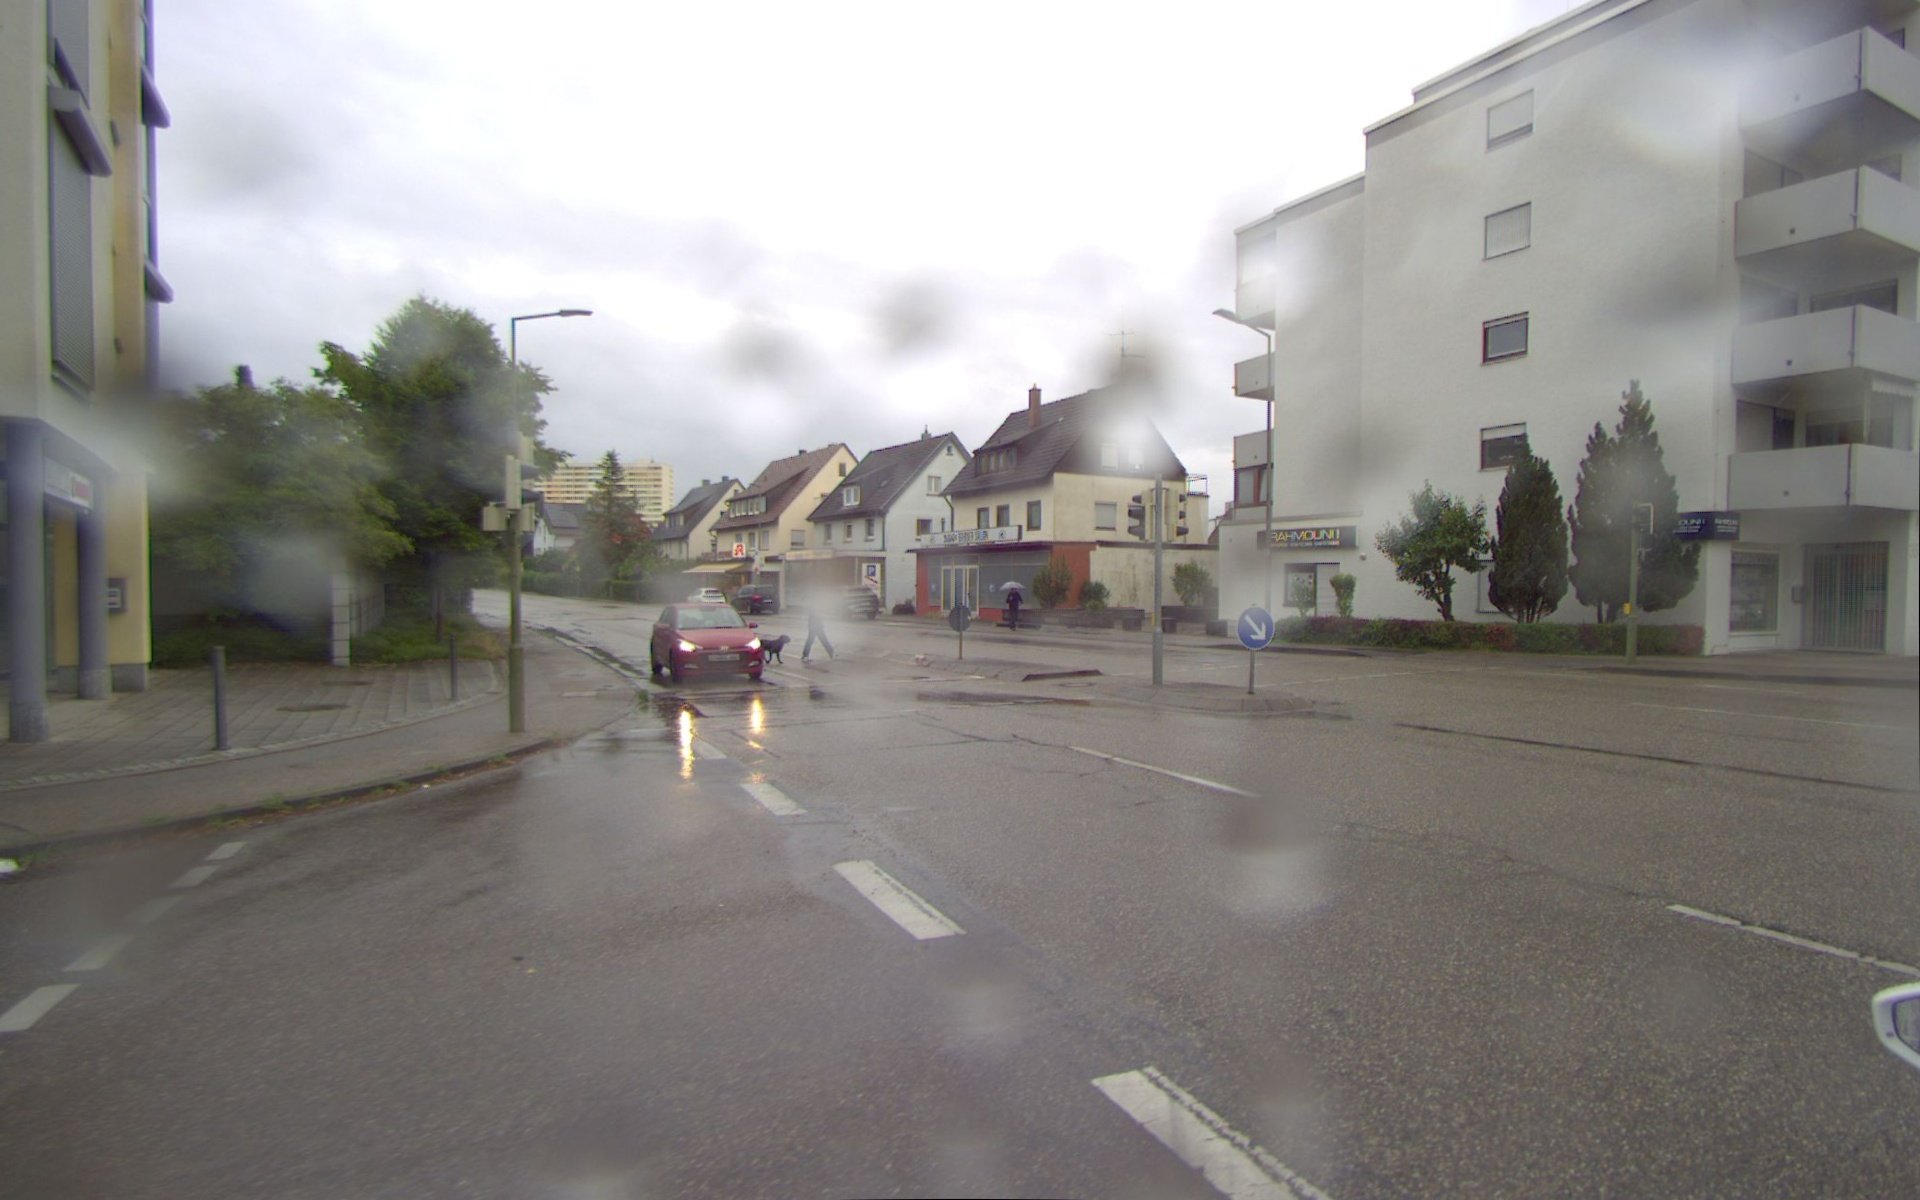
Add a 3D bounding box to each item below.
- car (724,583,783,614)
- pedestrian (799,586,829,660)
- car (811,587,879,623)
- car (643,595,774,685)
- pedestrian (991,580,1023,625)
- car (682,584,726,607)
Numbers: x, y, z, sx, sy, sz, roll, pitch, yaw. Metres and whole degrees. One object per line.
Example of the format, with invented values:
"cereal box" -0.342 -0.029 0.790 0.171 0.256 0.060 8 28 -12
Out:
"car" -12.637 -0.100 61.344 2.018 1.718 4.922 -3 2 -30
"pedestrian" -3.490 0.533 24.037 0.656 1.725 0.945 1 0 -8
"car" -5.837 0.216 50.554 1.856 1.665 4.759 -3 2 -27
"car" -5.166 0.708 20.287 1.757 1.527 4.077 -3 2 -25
"pedestrian" 1.705 0.095 36.610 0.745 1.589 0.986 2 -1 -27
"car" -17.768 -0.322 69.564 1.801 1.468 4.166 -3 2 -32
